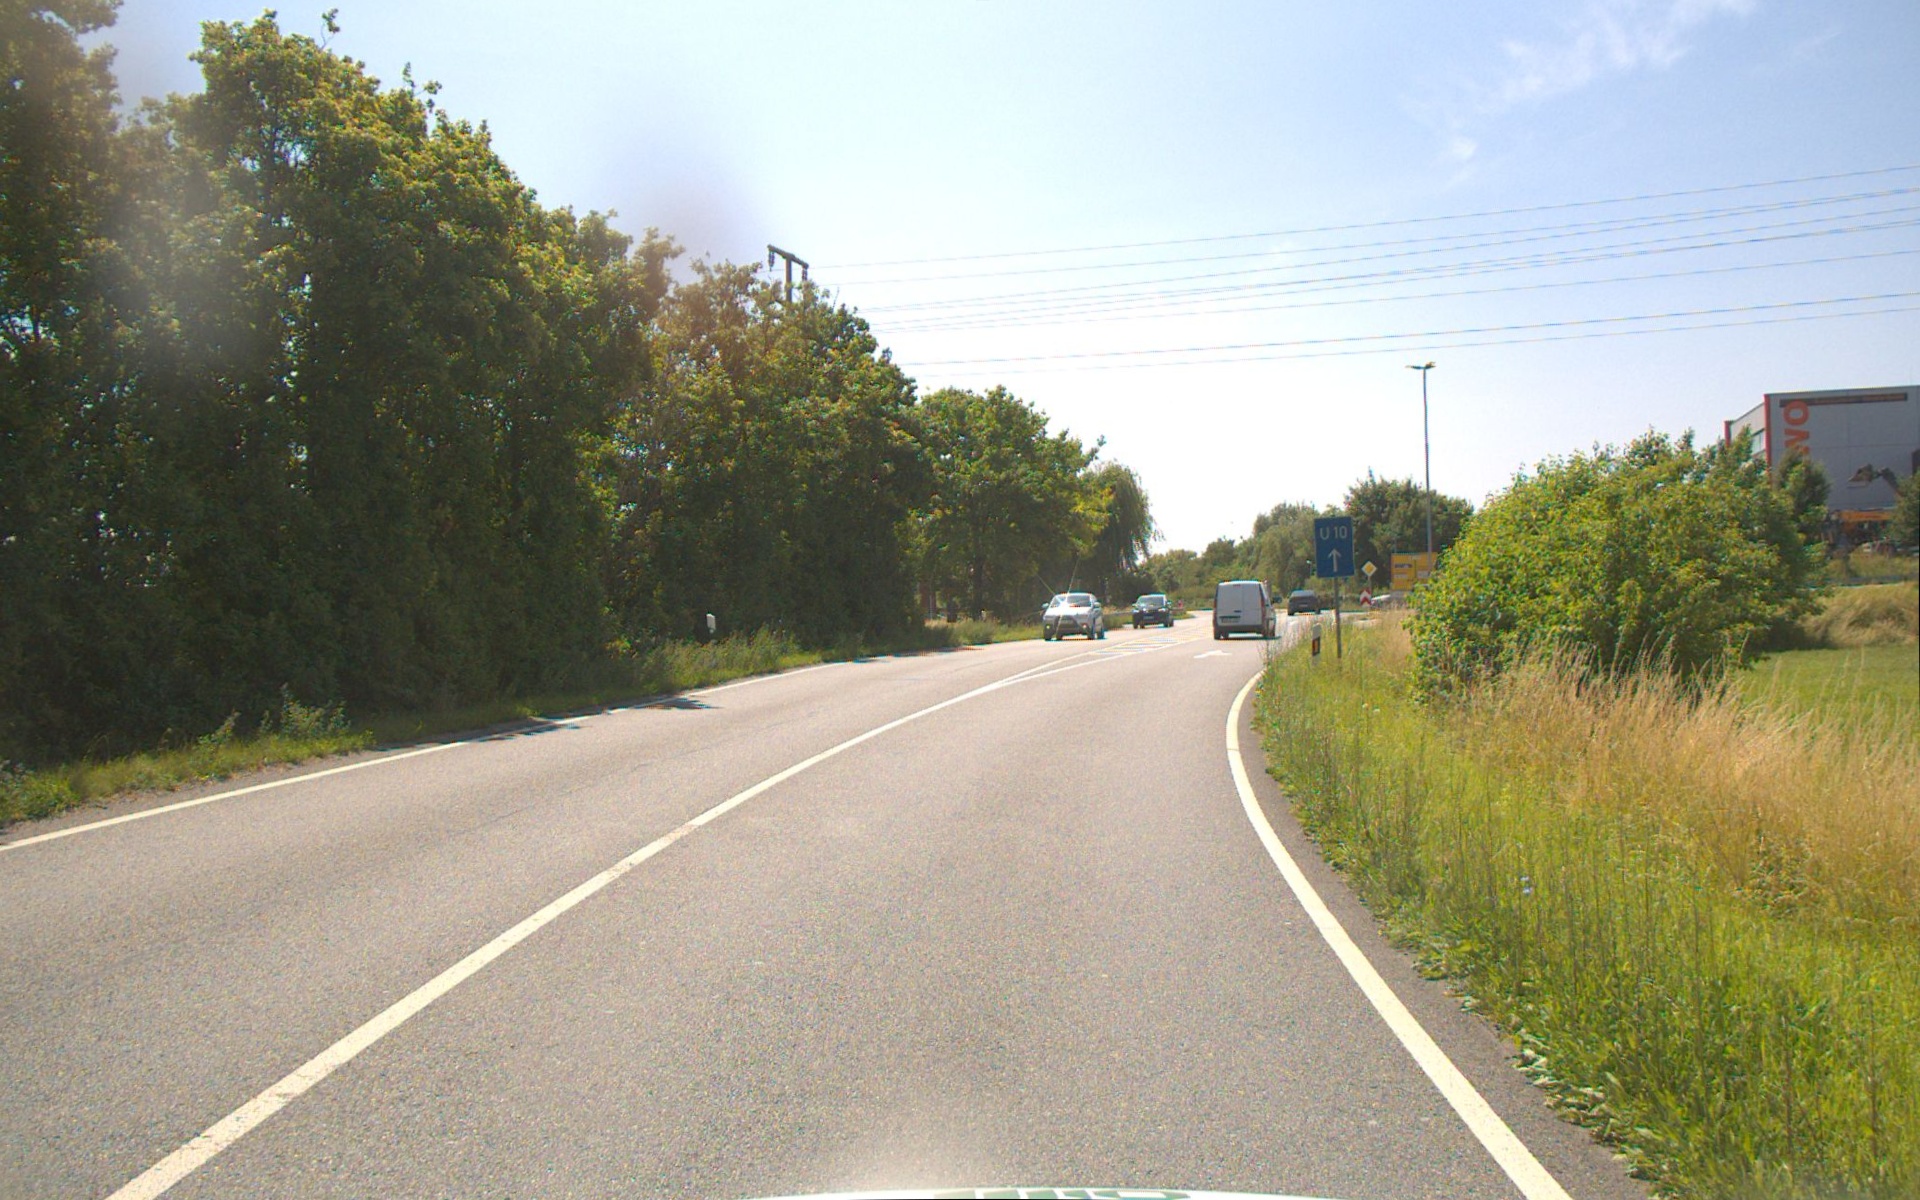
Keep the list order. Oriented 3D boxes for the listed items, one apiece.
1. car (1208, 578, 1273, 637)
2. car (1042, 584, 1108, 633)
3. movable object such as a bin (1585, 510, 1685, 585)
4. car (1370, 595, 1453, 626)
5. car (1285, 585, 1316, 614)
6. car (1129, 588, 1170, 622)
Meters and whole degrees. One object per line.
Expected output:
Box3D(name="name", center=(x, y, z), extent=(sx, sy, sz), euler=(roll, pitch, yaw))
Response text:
Box3D(name="car", center=(8.943, 0.233, 52.546), extent=(1.863, 1.763, 3.825), euler=(-1, -1, 11))
Box3D(name="car", center=(4.057, 0.274, 57.785), extent=(1.704, 1.617, 4.003), euler=(0, 0, 13))
Box3D(name="movable object such as a bin", center=(49.889, -3.845, 122.504), extent=(6.451, 5.238, 3.808), euler=(0, -2, 16))
Box3D(name="car", center=(25.722, 0.592, 94.349), extent=(4.415, 1.534, 1.916), euler=(-3, 0, 14))
Box3D(name="car", center=(21.029, -0.051, 102.126), extent=(1.767, 1.583, 4.004), euler=(-2, 1, 13))
Box3D(name="car", center=(9.288, 0.237, 80.863), extent=(1.695, 1.618, 3.961), euler=(0, 0, 11))
